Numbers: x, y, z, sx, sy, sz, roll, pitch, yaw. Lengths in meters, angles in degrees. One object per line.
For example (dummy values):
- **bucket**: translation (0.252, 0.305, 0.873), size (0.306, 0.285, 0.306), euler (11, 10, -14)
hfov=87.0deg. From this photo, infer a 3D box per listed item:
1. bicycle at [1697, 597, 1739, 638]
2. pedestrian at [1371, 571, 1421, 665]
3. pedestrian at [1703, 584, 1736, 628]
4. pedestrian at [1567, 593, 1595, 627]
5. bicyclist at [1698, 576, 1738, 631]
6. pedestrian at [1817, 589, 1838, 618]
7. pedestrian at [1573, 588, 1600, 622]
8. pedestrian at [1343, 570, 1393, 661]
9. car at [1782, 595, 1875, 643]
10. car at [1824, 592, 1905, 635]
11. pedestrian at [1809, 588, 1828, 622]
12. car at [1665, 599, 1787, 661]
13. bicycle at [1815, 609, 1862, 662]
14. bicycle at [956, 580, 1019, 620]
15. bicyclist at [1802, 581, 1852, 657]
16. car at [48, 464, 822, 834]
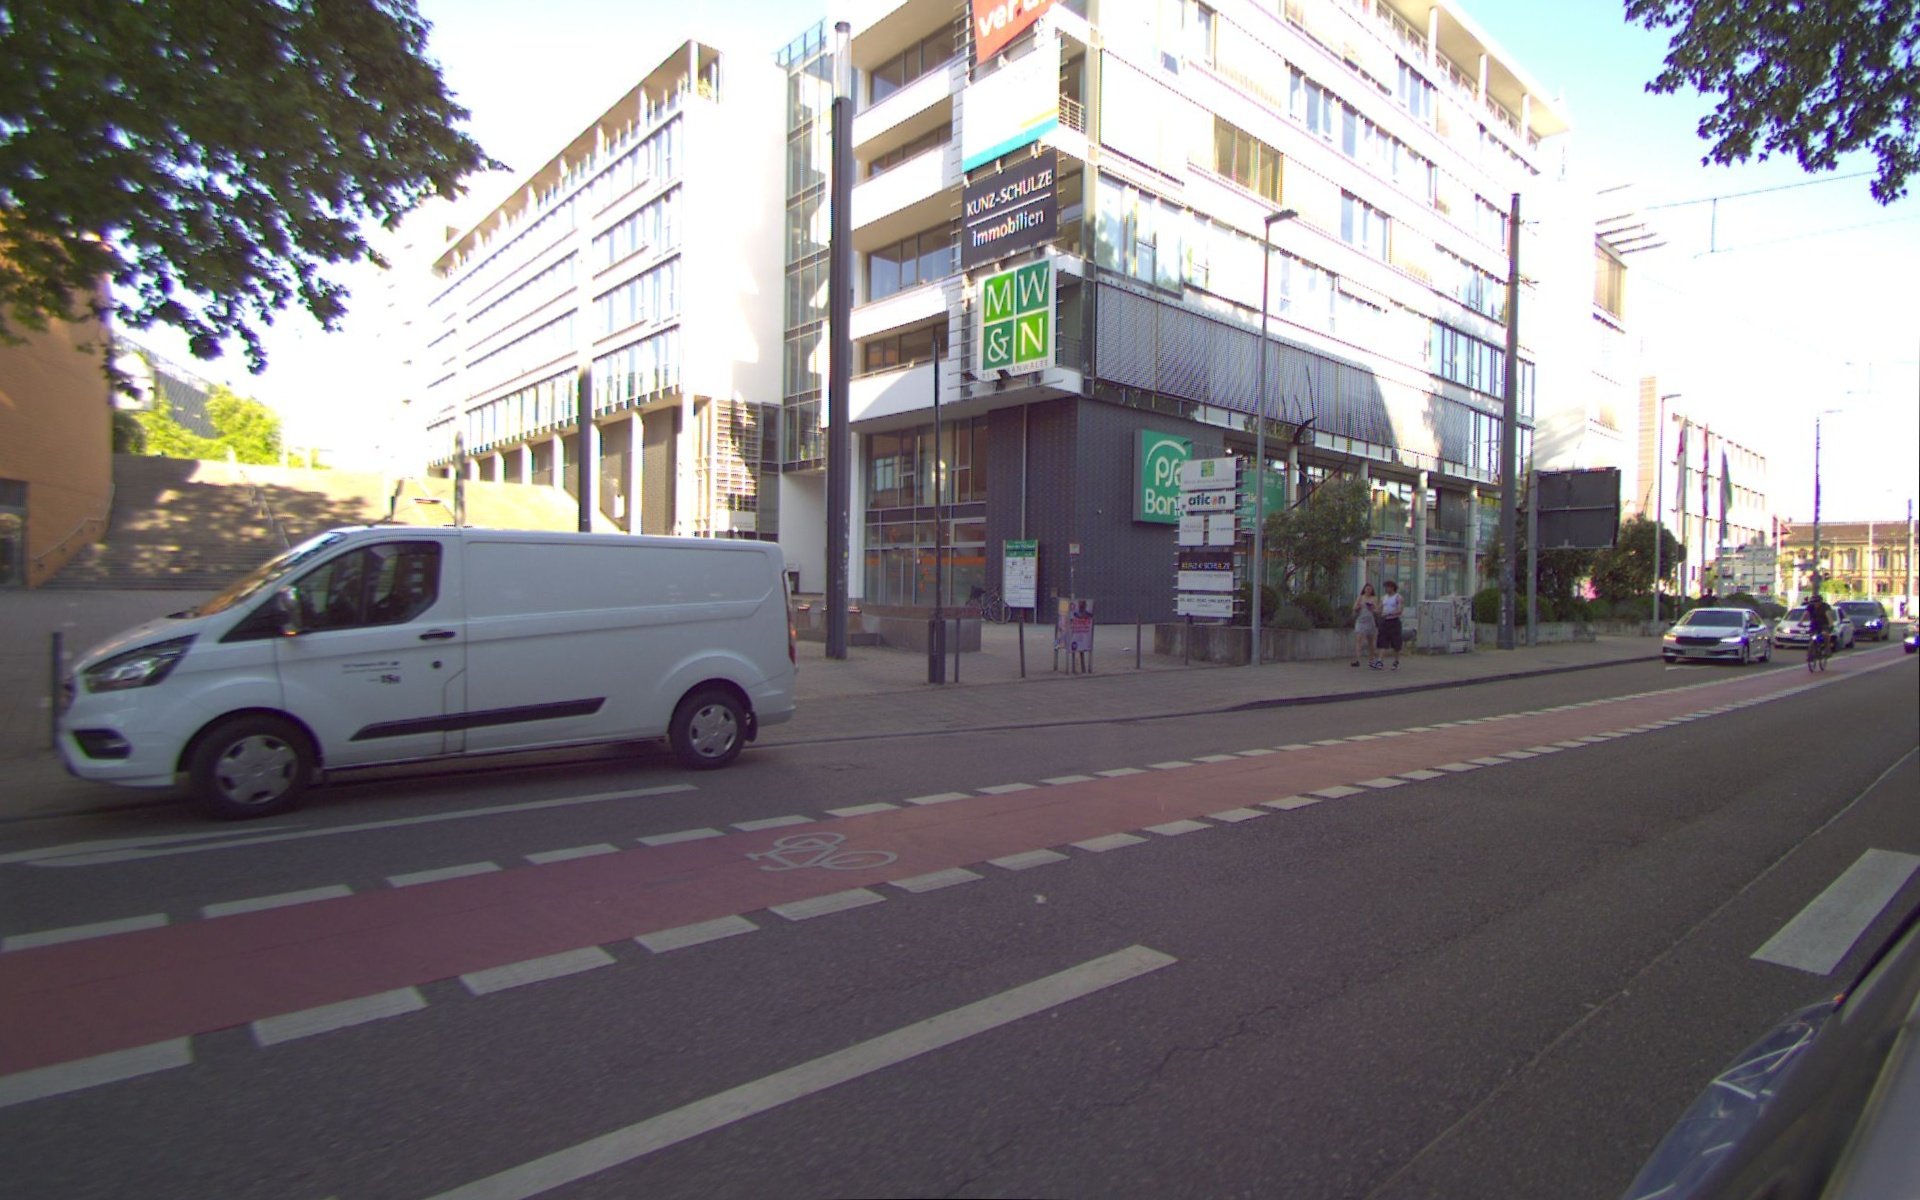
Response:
- **bicycle**: translation (25.904, 0.581, 34.581), size (1.894, 1.291, 0.665), euler (0, 4, -41)
- **pedestrian**: translation (8.809, 0.349, 20.428), size (0.876, 1.831, 0.564), euler (0, 1, -41)
- **pedestrian**: translation (28.056, 0.214, 37.387), size (0.895, 1.594, 0.753), euler (0, 1, -38)
- **pedestrian**: translation (23.763, 0.368, 38.718), size (0.682, 1.288, 0.750), euler (0, 1, -45)
- **bicyclist**: translation (25.887, 0.115, 34.546), size (1.188, 1.784, 0.743), euler (0, 4, -40)
- **pedestrian**: translation (48.342, 0.193, 56.397), size (0.652, 1.601, 0.693), euler (0, 3, -40)
- **pedestrian**: translation (24.260, 0.176, 39.195), size (0.535, 1.288, 0.783), euler (0, 1, -45)
- **pedestrian**: translation (8.444, 0.297, 20.938), size (0.880, 1.831, 0.591), euler (0, 1, -41)
- **car**: translation (29.416, 0.611, 34.260), size (3.798, 1.482, 1.672), euler (0, 1, -38)
- **car**: translation (36.586, 0.512, 40.910), size (3.930, 1.616, 1.997), euler (0, 1, -41)
- **pedestrian**: translation (42.125, 0.233, 49.667), size (0.579, 1.601, 0.527), euler (0, 3, -40)
- **car**: translation (20.062, 0.731, 26.440), size (3.952, 1.437, 1.784), euler (0, 1, -41)
- **bicycle**: translation (20.358, 0.792, 23.437), size (2.090, 1.135, 0.550), euler (0, 1, -42)
- **bicycle**: translation (0.759, -0.012, 28.698), size (0.688, 1.077, 1.878), euler (0, 2, -42)
- **bicyclist**: translation (20.159, 0.423, 23.528), size (0.702, 1.709, 0.752), euler (0, 1, -40)
- **car**: translation (-3.940, 0.257, 8.367), size (5.193, 2.160, 2.129), euler (0, 1, -38)
